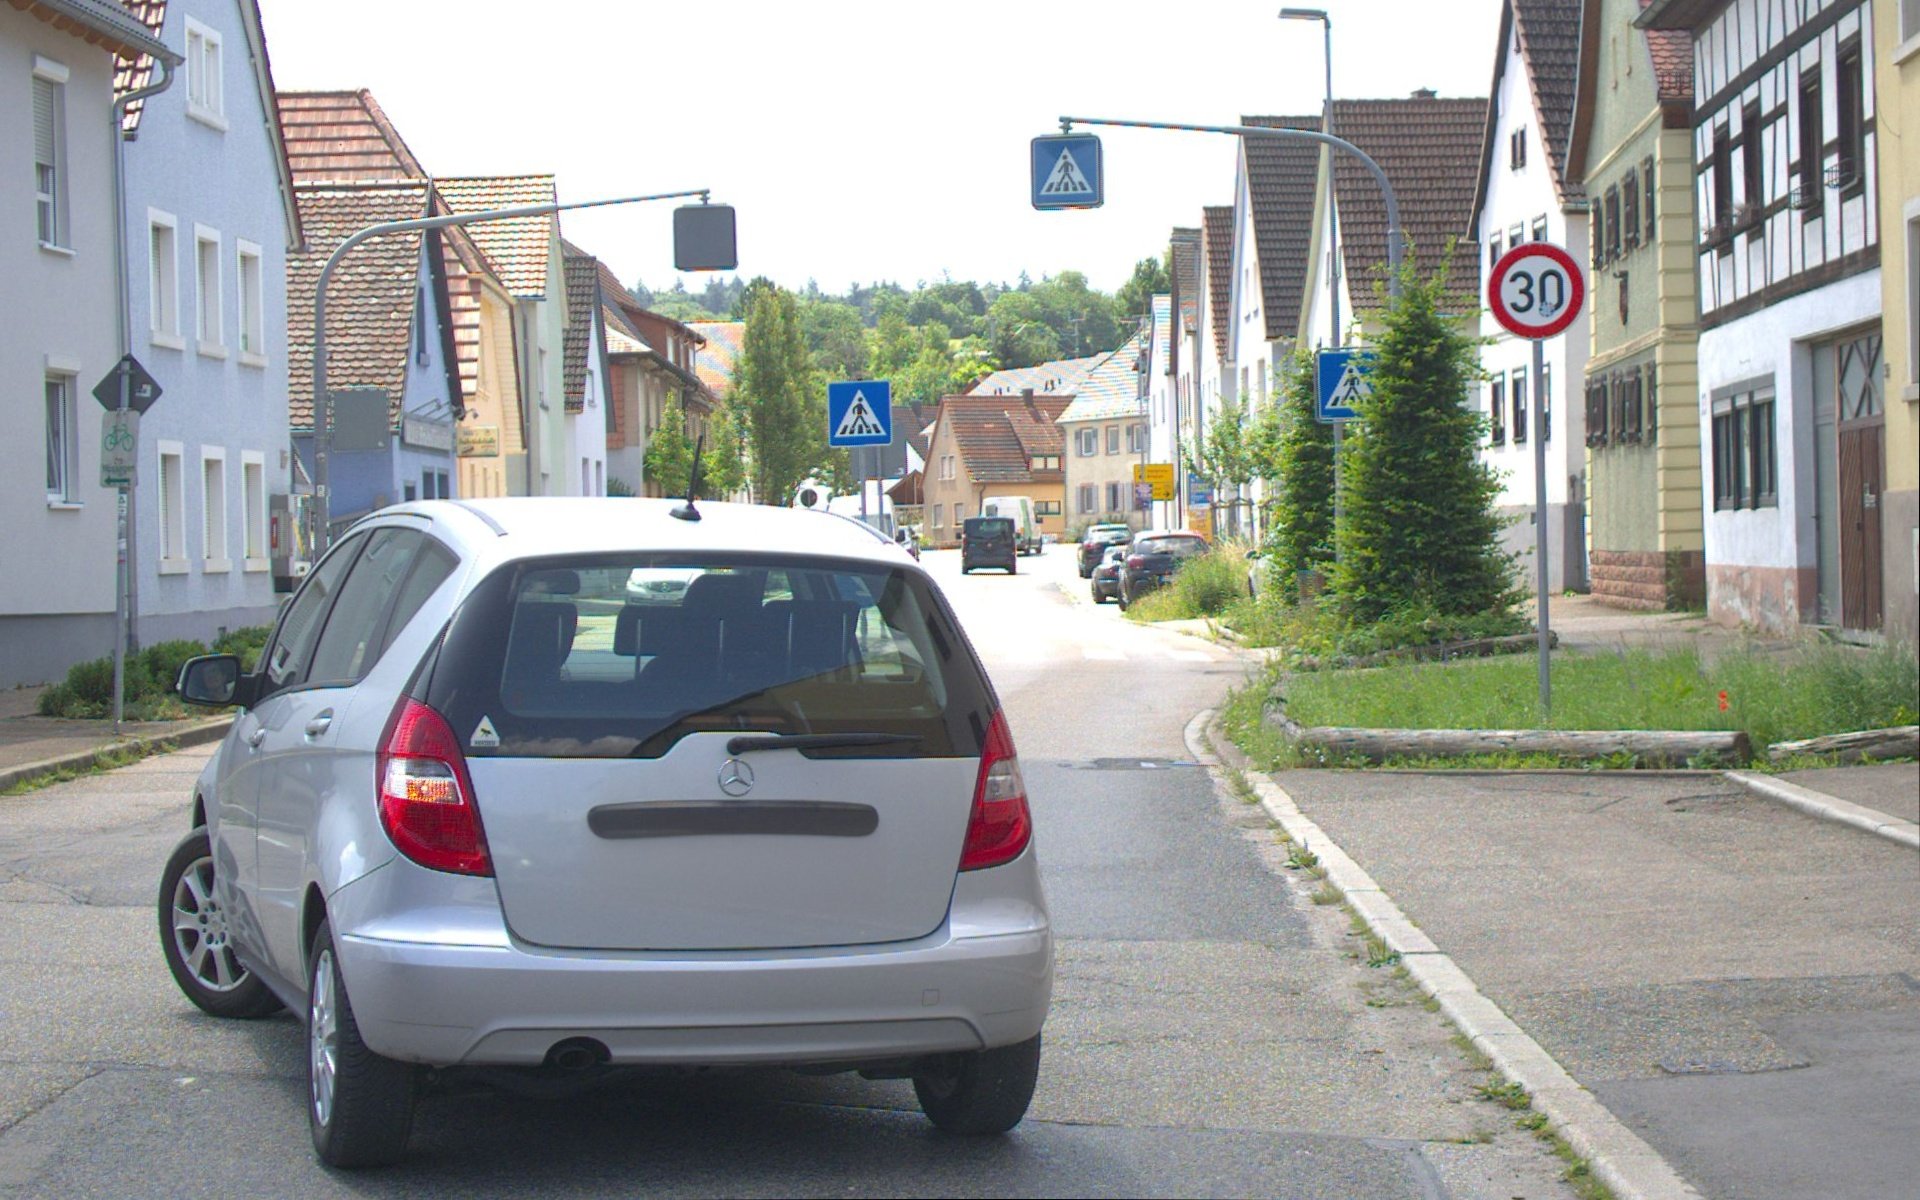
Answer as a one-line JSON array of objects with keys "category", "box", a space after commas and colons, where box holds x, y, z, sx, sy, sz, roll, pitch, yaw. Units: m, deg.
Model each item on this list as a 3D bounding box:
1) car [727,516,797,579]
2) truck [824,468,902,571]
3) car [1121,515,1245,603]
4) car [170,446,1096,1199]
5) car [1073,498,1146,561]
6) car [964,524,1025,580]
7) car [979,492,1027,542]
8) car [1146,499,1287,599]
[{"category": "car", "box": [-5.355, -1.411, 93.357, 1.667, 1.590, 4.000, 0, -1, 0]}, {"category": "truck", "box": [-2.583, -2.129, 93.044, 1.993, 2.528, 6.739, 0, -1, -1]}, {"category": "car", "box": [4.002, -0.721, 62.332, 1.993, 1.503, 4.000, 0, -1, 0]}, {"category": "car", "box": [-1.105, 0.473, 9.462, 1.810, 1.638, 3.730, 1, 1, -17]}, {"category": "car", "box": [4.585, -2.138, 105.746, 1.993, 1.810, 4.000, 0, -1, -1]}, {"category": "car", "box": [1.169, -1.635, 118.263, 1.993, 1.810, 4.000, 0, -1, -1]}, {"category": "car", "box": [1.849, -3.553, 148.319, 1.993, 2.007, 4.000, 0, -1, 0]}, {"category": "car", "box": [4.105, -0.799, 55.664, 1.993, 1.503, 4.000, 0, -1, 0]}]
